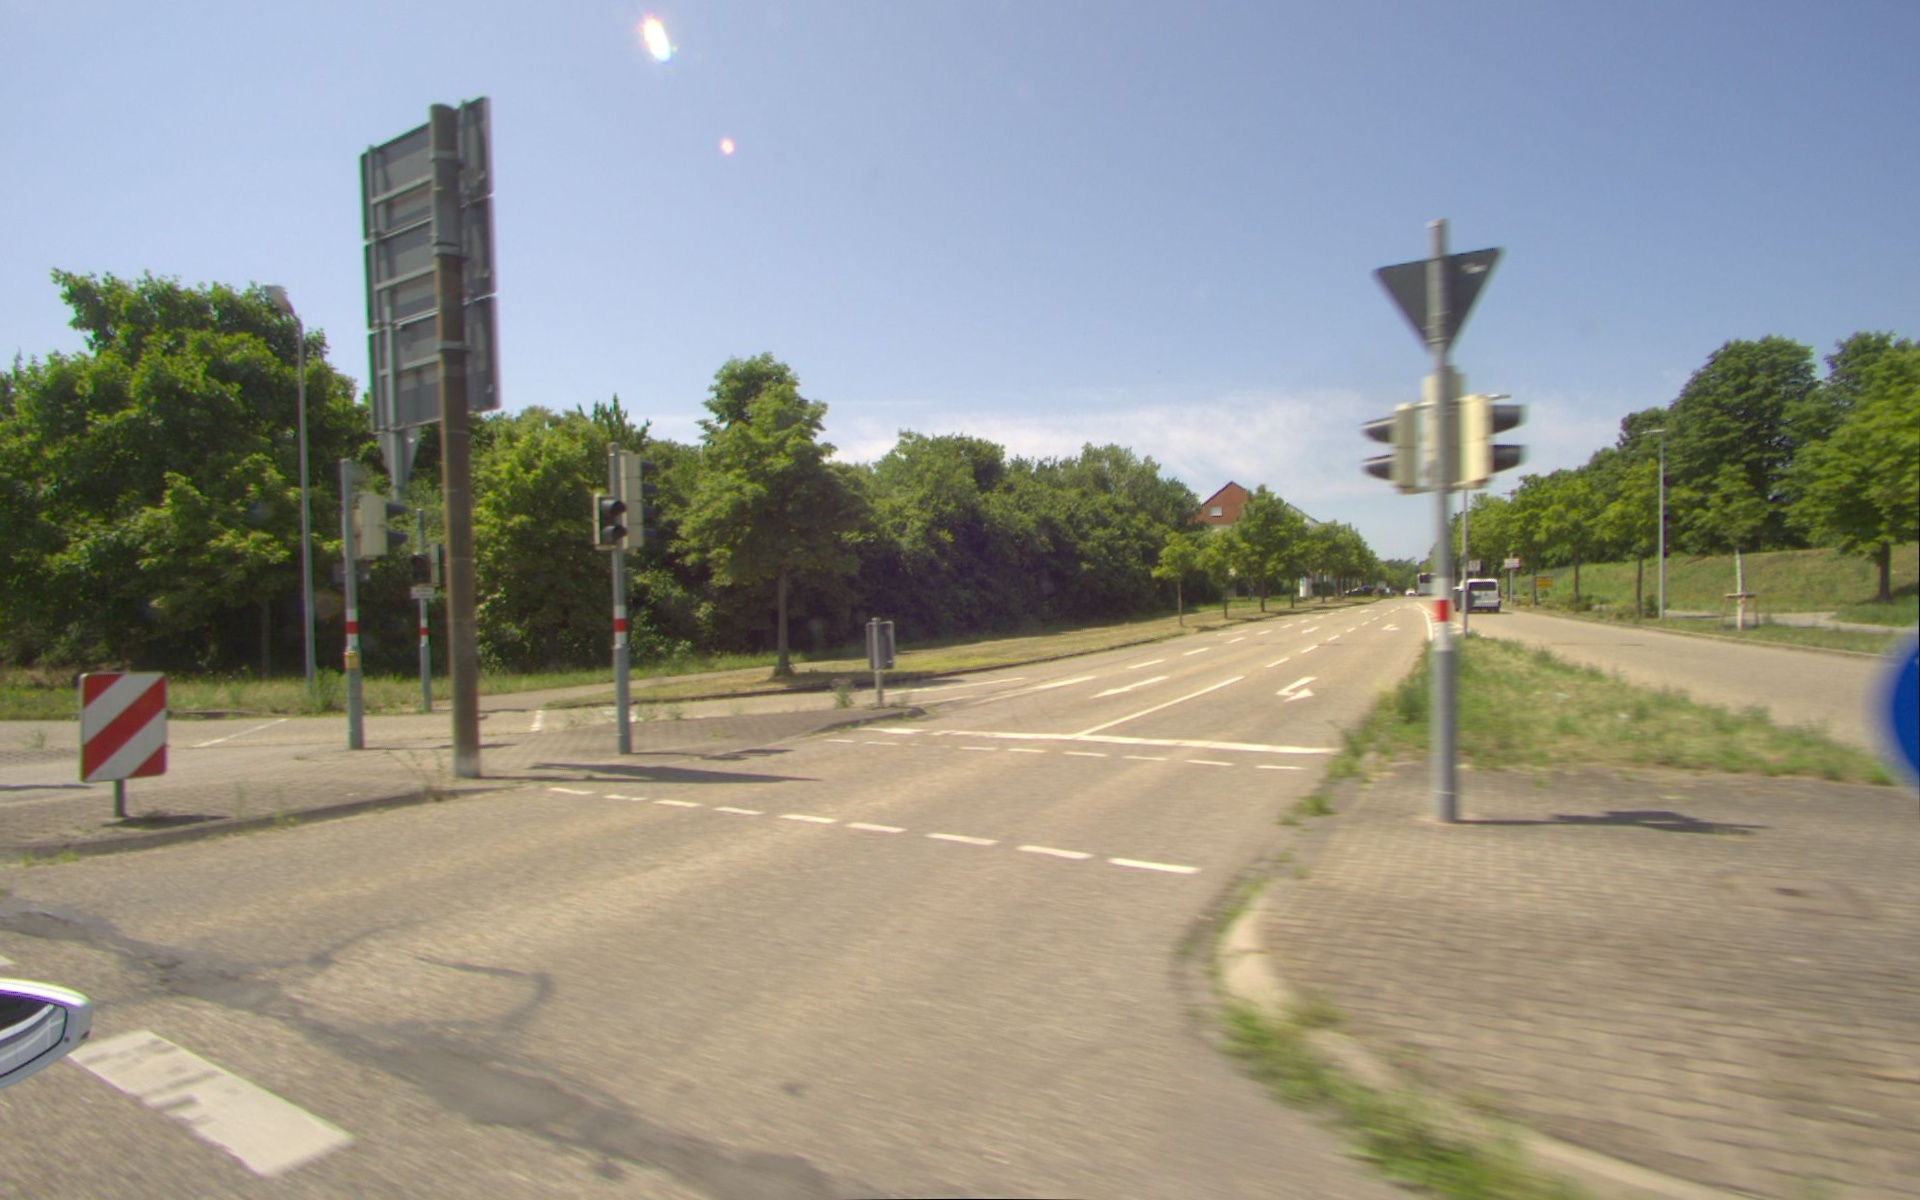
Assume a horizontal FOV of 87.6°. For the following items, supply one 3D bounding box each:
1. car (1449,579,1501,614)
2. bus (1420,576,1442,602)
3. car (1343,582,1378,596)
[{"bbox_3d":[28.346,-0.218,55.263,1.833,1.843,4.897,0,1,18],"label":"car"},{"bbox_3d":[63.075,-1.371,134.039,2.589,3.127,12.040,-1,-1,25],"label":"bus"},{"bbox_3d":[48.334,-1.311,120.830,3.772,1.571,1.656,-2,-3,31],"label":"car"}]
